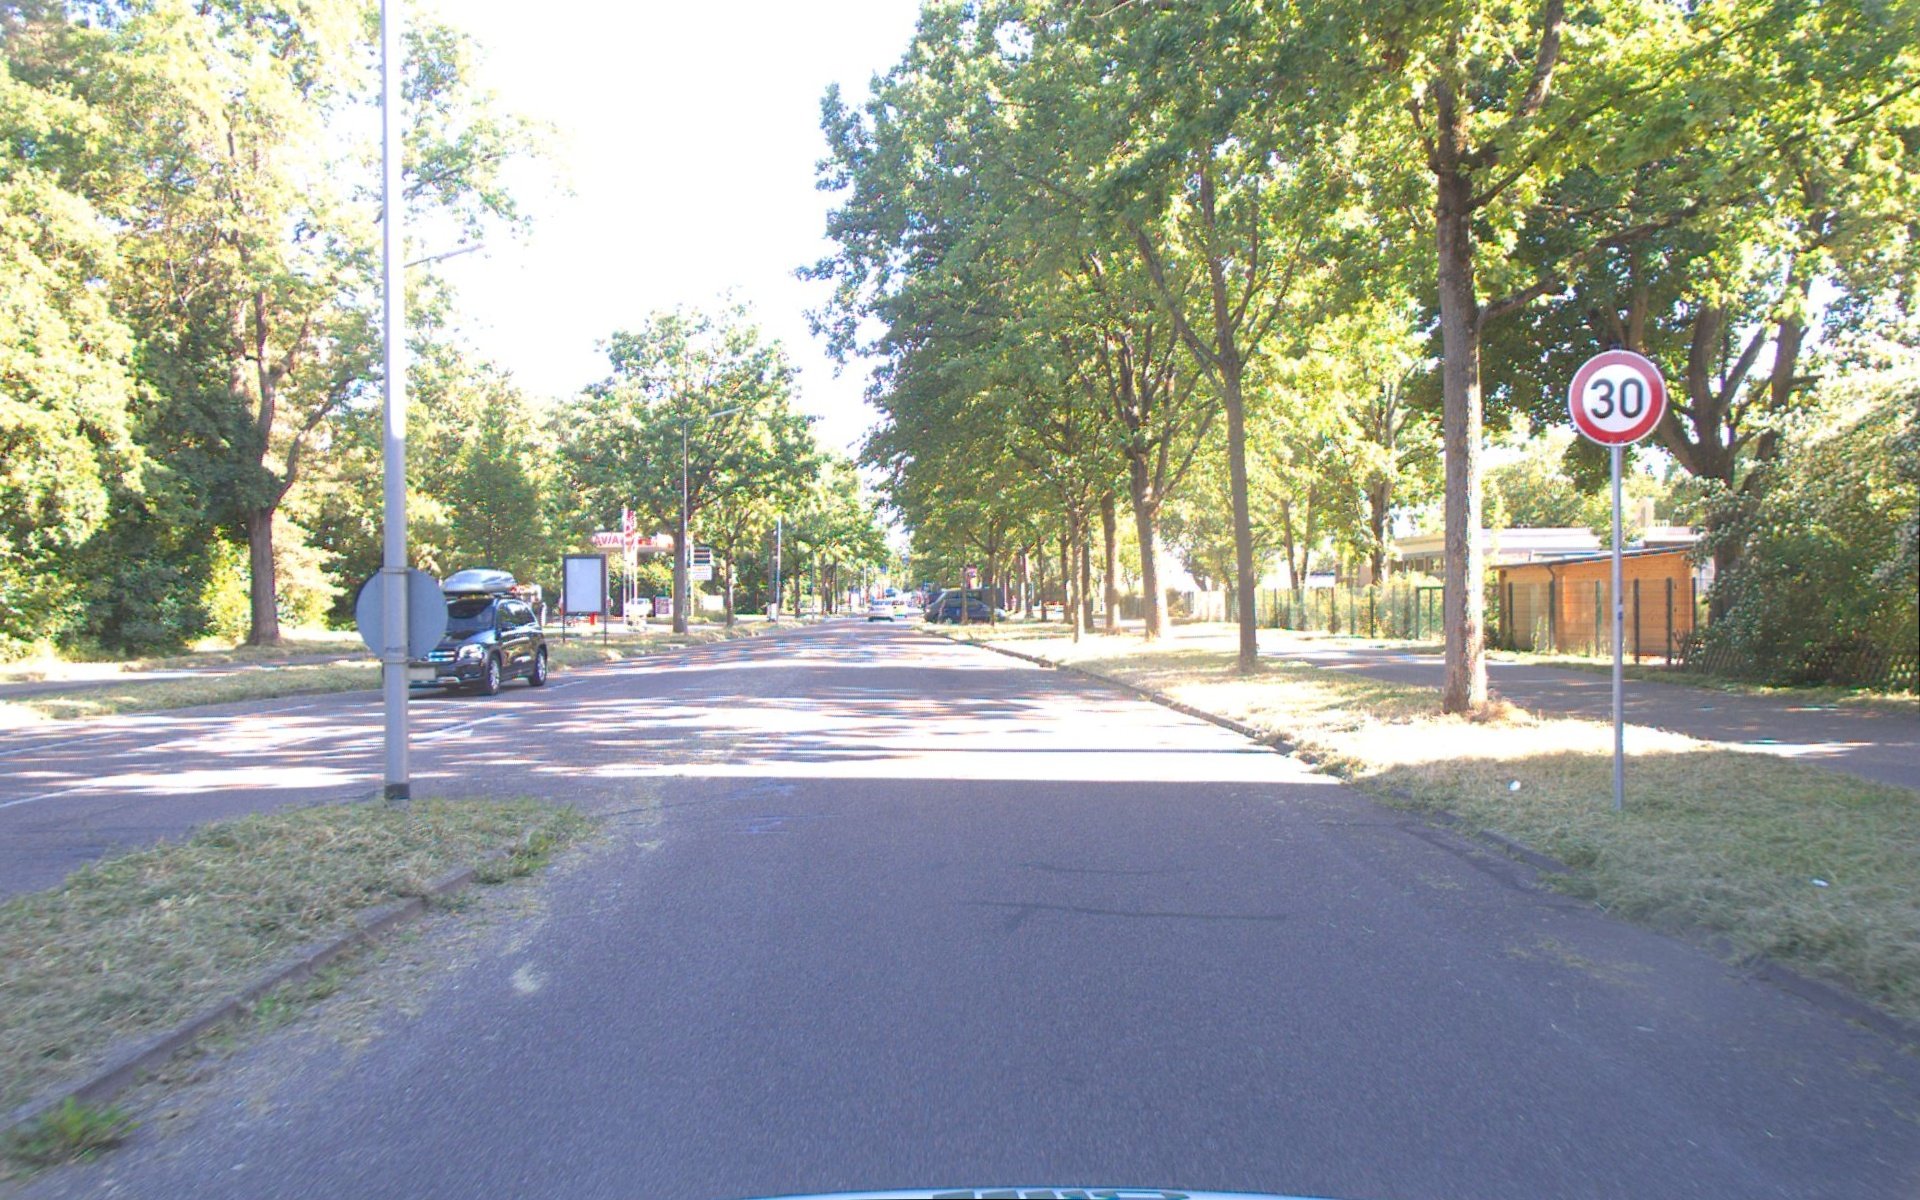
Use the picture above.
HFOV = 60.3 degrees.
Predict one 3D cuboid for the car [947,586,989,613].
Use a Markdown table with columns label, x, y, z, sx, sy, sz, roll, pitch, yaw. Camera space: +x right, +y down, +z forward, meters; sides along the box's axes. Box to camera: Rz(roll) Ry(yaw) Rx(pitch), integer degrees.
| label | x | y | z | sx | sy | sz | roll | pitch | yaw |
| --- | --- | --- | --- | --- | --- | --- | --- | --- | --- |
| car | 0.683 | -0.050 | 140.048 | 3.496 | 2.087 | 1.632 | -1 | -3 | -3 |

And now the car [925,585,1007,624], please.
| label | x | y | z | sx | sy | sz | roll | pitch | yaw |
| --- | --- | --- | --- | --- | --- | --- | --- | --- | --- |
| car | 0.288 | 0.263 | 91.167 | 4.412 | 1.987 | 1.686 | -1 | -1 | -3 |

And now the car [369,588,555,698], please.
| label | x | y | z | sx | sy | sz | roll | pitch | yaw |
| --- | --- | --- | --- | --- | --- | --- | --- | --- | --- |
| car | -8.612 | 0.696 | 29.038 | 1.801 | 1.738 | 4.505 | -2 | 0 | 1 |

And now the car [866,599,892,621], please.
| label | x | y | z | sx | sy | sz | roll | pitch | yaw |
| --- | --- | --- | --- | --- | --- | --- | --- | --- | --- |
| car | -5.399 | 0.665 | 110.157 | 1.628 | 1.360 | 3.662 | -1 | -1 | -3 |

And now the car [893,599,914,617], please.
| label | x | y | z | sx | sy | sz | roll | pitch | yaw |
| --- | --- | --- | --- | --- | --- | --- | --- | --- | --- |
| car | -4.602 | 0.677 | 135.158 | 1.628 | 1.360 | 3.662 | -1 | -1 | -3 |

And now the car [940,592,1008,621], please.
| label | x | y | z | sx | sy | sz | roll | pitch | yaw |
| --- | --- | --- | --- | --- | --- | --- | --- | --- | --- |
| car | 0.733 | 0.344 | 88.205 | 3.580 | 1.422 | 1.317 | -1 | -1 | -3 |

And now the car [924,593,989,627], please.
| label | x | y | z | sx | sy | sz | roll | pitch | yaw |
| --- | --- | --- | --- | --- | --- | --- | --- | --- | --- |
| car | -0.206 | 0.566 | 93.630 | 3.580 | 1.829 | 1.317 | -1 | -1 | -3 |

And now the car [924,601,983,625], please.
| label | x | y | z | sx | sy | sz | roll | pitch | yaw |
| --- | --- | --- | --- | --- | --- | --- | --- | --- | --- |
| car | -0.424 | 0.808 | 101.627 | 3.580 | 1.353 | 1.317 | -1 | -1 | -3 |

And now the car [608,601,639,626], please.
| label | x | y | z | sx | sy | sz | roll | pitch | yaw |
| --- | --- | --- | --- | --- | --- | --- | --- | --- | --- |
| car | -25.502 | 1.044 | 125.339 | 1.766 | 1.855 | 3.801 | -1 | -1 | -4 |
